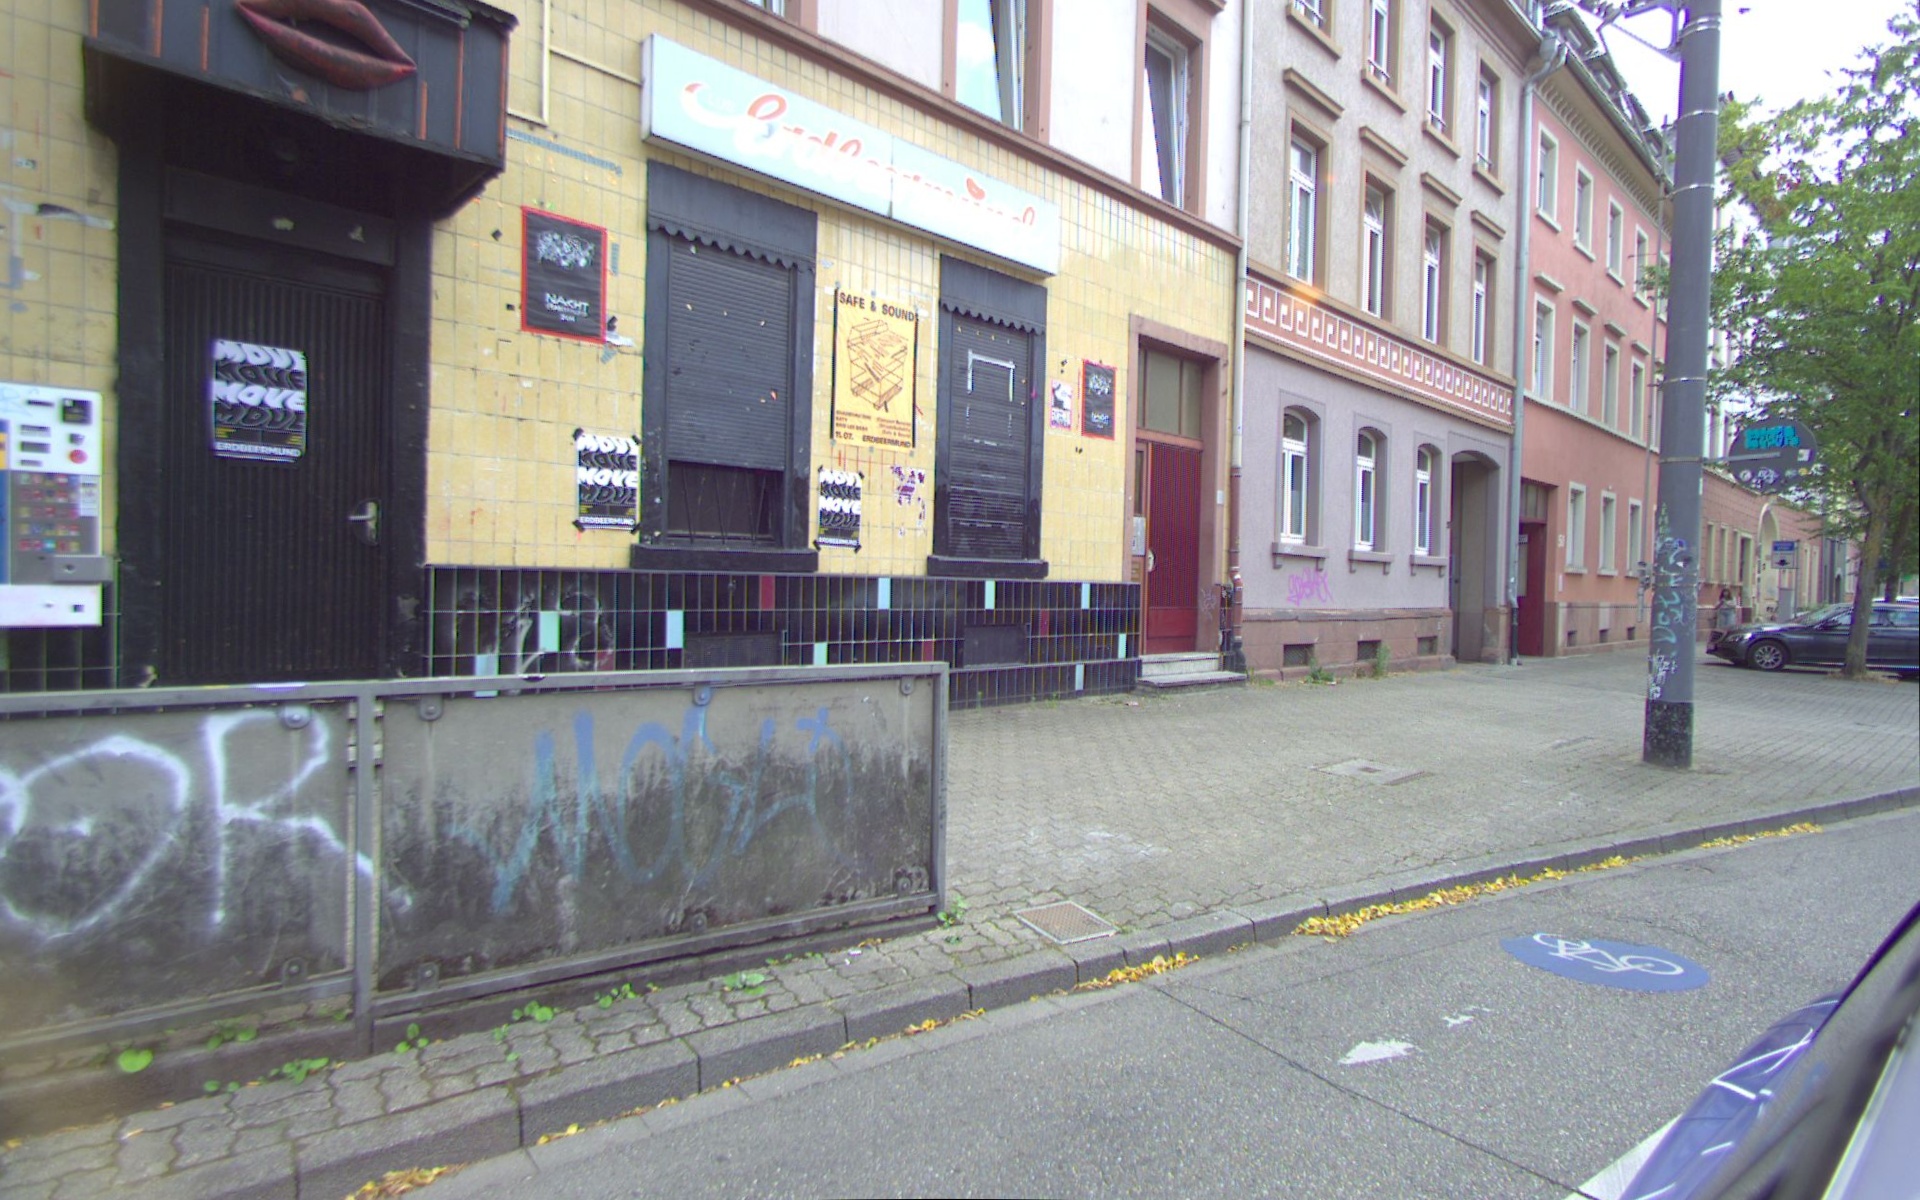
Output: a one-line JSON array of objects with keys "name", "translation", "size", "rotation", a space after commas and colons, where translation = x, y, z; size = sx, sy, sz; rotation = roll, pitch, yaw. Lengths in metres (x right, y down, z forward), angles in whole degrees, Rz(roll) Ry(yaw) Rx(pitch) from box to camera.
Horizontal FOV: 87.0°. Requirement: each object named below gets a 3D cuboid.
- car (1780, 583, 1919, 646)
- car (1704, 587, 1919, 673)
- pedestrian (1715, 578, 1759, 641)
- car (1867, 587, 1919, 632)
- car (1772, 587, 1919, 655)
[{"name": "car", "translation": [27.697, 0.443, 30.551], "size": [4.196, 1.719, 1.725], "rotation": [3, 2, 25]}, {"name": "car", "translation": [18.035, 0.596, 20.364], "size": [4.581, 1.491, 1.774], "rotation": [3, 2, 25]}, {"name": "pedestrian", "translation": [22.383, 0.268, 29.163], "size": [0.910, 1.708, 0.732], "rotation": [1, 4, -42]}, {"name": "car", "translation": [39.513, 0.450, 40.291], "size": [4.581, 1.719, 1.901], "rotation": [3, 2, 25]}, {"name": "car", "translation": [23.145, 0.537, 25.084], "size": [4.301, 1.498, 1.774], "rotation": [3, 2, 25]}]
